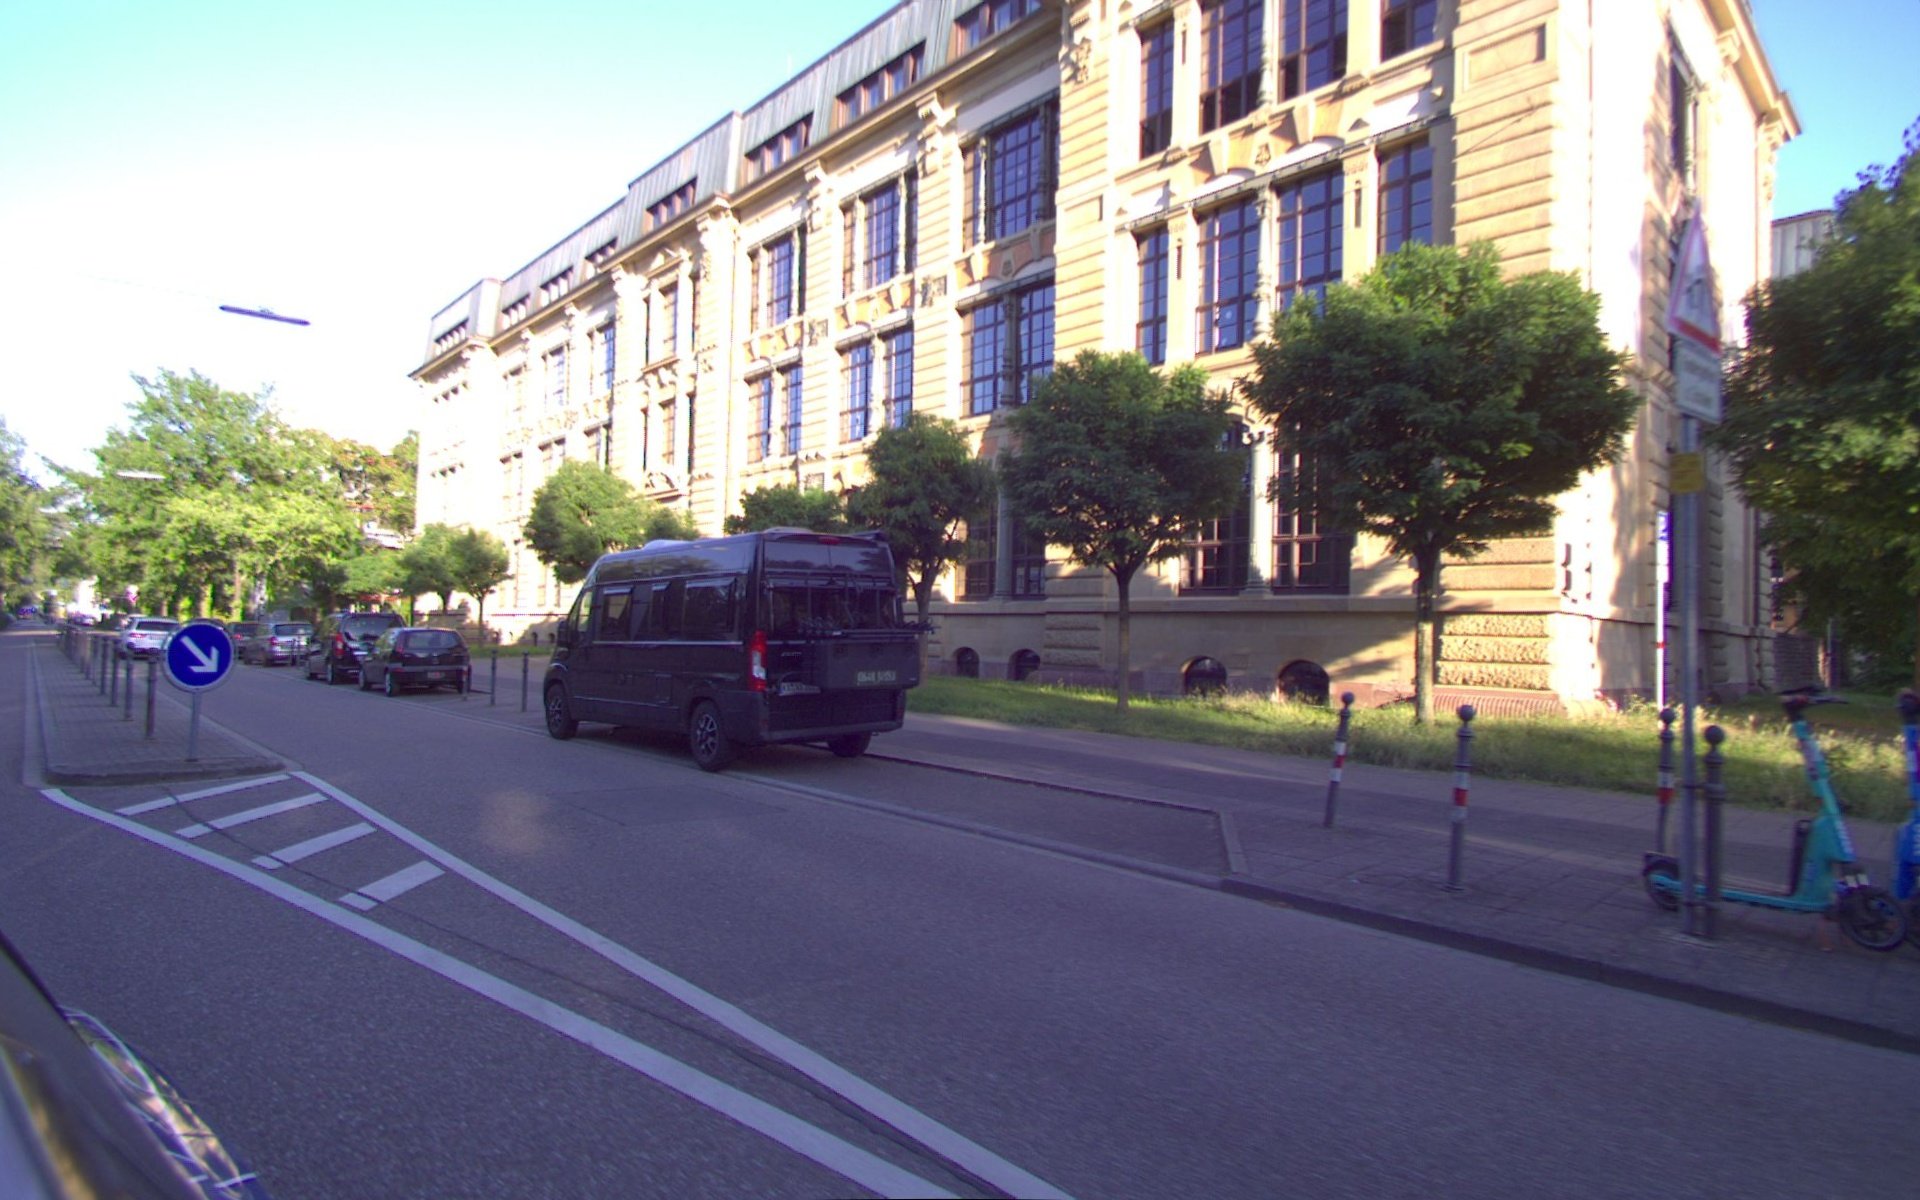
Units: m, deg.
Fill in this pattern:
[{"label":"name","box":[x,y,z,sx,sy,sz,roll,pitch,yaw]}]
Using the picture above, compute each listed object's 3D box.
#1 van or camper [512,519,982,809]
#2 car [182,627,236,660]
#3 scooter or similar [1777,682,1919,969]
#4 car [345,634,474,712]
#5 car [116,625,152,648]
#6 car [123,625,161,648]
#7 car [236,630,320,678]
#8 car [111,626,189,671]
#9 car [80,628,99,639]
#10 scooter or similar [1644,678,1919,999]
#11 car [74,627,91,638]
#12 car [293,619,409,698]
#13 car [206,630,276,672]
[{"label":"van or camper","box":[-3.001,0.633,12.308,2.203,2.564,7.086,2,-2,-43]},{"label":"car","box":[-36.376,2.096,48.989,1.598,1.507,3.928,3,-3,-43]},{"label":"scooter or similar","box":[4.743,1.085,5.066,0.427,1.284,1.339,1,-2,11]},{"label":"car","box":[-12.140,1.523,22.224,1.675,1.481,3.860,1,-1,-41]},{"label":"car","box":[-63.520,2.808,77.775,1.782,1.628,4.151,4,-3,-43]},{"label":"car","box":[-58.066,2.578,71.859,1.759,1.628,4.151,3,-3,-43]},{"label":"car","box":[-23.203,1.799,34.355,1.698,1.507,4.382,3,-3,-42]},{"label":"car","box":[-28.722,1.686,35.834,1.720,1.469,4.628,4,-4,-43]},{"label":"car","box":[-115.942,4.431,134.734,1.750,1.494,4.113,2,-3,-43]},{"label":"scooter or similar","box":[4.089,1.059,4.956,0.425,1.284,1.346,2,-2,-8]},{"label":"car","box":[-135.972,5.029,156.826,1.750,1.580,4.113,2,-3,-43]},{"label":"car","box":[-15.877,1.446,26.283,1.756,1.880,4.337,0,-2,-43]},{"label":"car","box":[-27.874,1.938,39.197,1.598,1.507,4.381,3,-3,-43]}]
